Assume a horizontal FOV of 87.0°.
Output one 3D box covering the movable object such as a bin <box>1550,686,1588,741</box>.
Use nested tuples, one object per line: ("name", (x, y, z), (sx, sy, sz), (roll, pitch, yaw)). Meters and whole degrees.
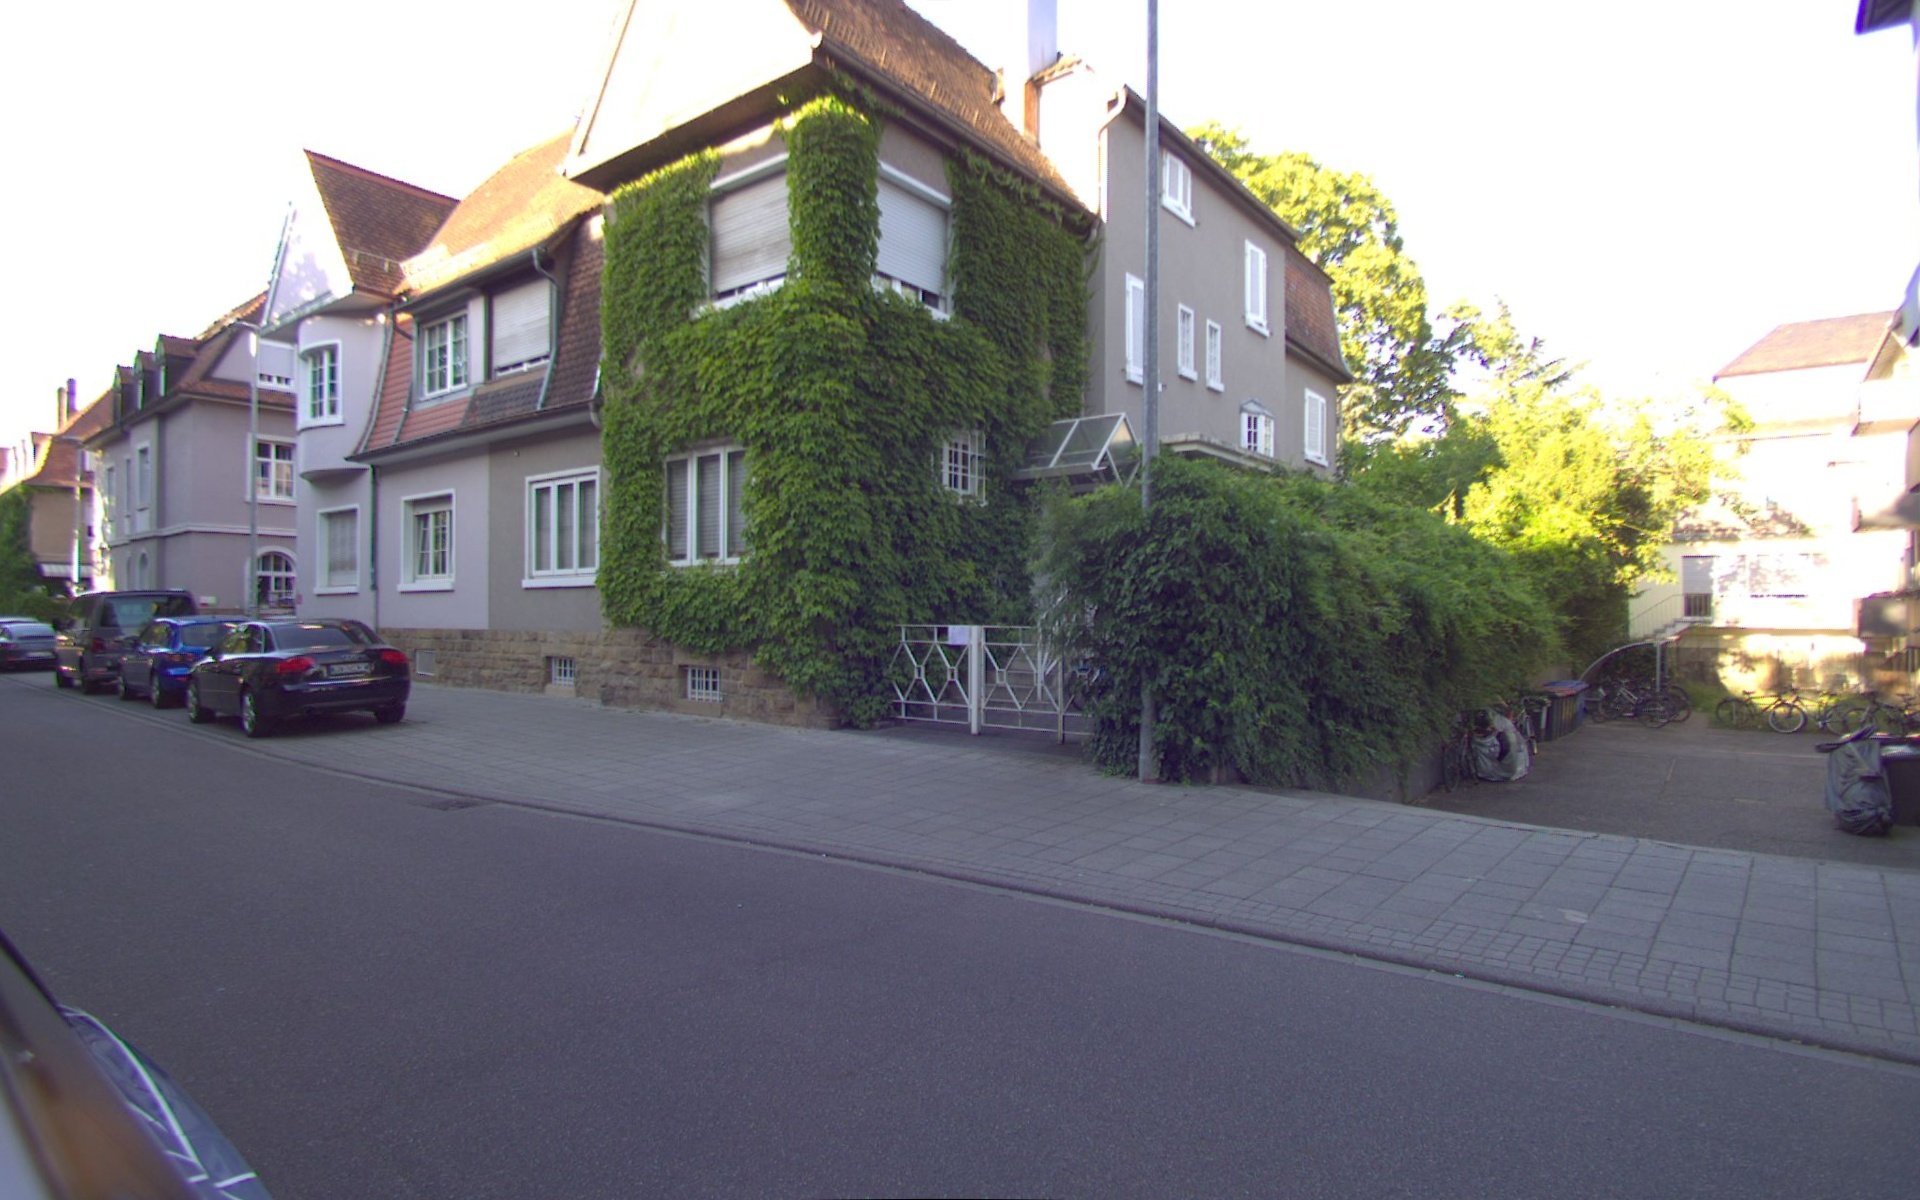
("movable object such as a bin", (13.082, 2.417, 21.732), (0.611, 1.123, 0.792), (-1, -4, 37))

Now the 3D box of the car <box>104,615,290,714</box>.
("car", (-13.255, 1.029, 17.493), (4.060, 1.457, 1.745), (-1, 0, 41))

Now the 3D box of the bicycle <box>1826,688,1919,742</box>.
("bicycle", (20.750, 2.574, 22.688), (2.005, 1.080, 0.558), (-1, -4, 42))

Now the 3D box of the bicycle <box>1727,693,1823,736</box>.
("bicycle", (19.272, 2.703, 23.961), (1.754, 0.886, 0.558), (-1, -4, 42))

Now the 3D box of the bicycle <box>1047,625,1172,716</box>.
("bicycle", (2.084, 0.920, 13.842), (0.476, 1.111, 2.172), (-2, -1, 45))

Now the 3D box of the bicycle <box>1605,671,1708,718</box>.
("bicycle", (19.577, 2.648, 28.491), (2.338, 1.186, 0.685), (-1, -4, 42))

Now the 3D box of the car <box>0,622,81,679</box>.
("car", (-25.782, 1.344, 27.938), (4.063, 1.394, 1.906), (-1, 0, 44))

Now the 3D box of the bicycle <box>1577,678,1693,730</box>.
("bicycle", (16.620, 2.539, 24.963), (2.294, 1.142, 0.685), (-1, -4, 42))

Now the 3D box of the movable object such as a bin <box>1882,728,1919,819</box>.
("movable object such as a bin", (12.680, 2.287, 13.383), (0.611, 1.123, 0.792), (-1, -4, 37))

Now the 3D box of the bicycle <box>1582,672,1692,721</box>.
("bicycle", (17.884, 2.533, 26.775), (2.338, 1.142, 0.685), (-1, -4, 42))

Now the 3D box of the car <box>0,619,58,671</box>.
("car", (-29.798, 1.385, 31.670), (4.061, 1.478, 1.907), (-1, 0, 42))

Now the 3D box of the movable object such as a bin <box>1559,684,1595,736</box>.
("movable object such as a bin", (14.028, 2.488, 23.006), (0.611, 1.123, 0.792), (-1, -4, 37))

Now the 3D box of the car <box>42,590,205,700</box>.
("car", (-17.145, 0.844, 20.662), (4.610, 1.990, 1.819), (-1, 0, 41))

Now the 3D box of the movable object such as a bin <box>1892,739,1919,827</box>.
("movable object such as a bin", (12.101, 2.290, 12.624), (0.611, 1.045, 0.532), (-1, -4, 37))

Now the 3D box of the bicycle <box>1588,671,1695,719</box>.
("bicycle", (18.435, 2.553, 27.428), (2.338, 1.186, 0.685), (-1, -4, 42))

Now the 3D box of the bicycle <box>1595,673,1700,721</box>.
("bicycle", (18.992, 2.668, 27.992), (2.338, 1.186, 0.685), (-1, -4, 42))

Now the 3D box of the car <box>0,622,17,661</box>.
("car", (-35.952, 1.545, 37.144), (3.676, 1.372, 1.641), (-1, 0, 42))

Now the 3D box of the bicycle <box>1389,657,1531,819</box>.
("bicycle", (7.208, 1.810, 14.409), (0.970, 1.907, 4.138), (-1, -3, 38))

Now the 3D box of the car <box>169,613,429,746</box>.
("car", (-9.021, 0.947, 13.667), (4.426, 1.457, 1.783), (-1, 0, 41))

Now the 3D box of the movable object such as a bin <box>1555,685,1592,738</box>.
("movable object such as a bin", (13.558, 2.454, 22.375), (0.611, 1.123, 0.792), (-1, -4, 37))

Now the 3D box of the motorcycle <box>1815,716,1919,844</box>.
("motorcycle", (11.075, 2.135, 12.293), (0.742, 1.305, 1.565), (-1, -2, 30))
